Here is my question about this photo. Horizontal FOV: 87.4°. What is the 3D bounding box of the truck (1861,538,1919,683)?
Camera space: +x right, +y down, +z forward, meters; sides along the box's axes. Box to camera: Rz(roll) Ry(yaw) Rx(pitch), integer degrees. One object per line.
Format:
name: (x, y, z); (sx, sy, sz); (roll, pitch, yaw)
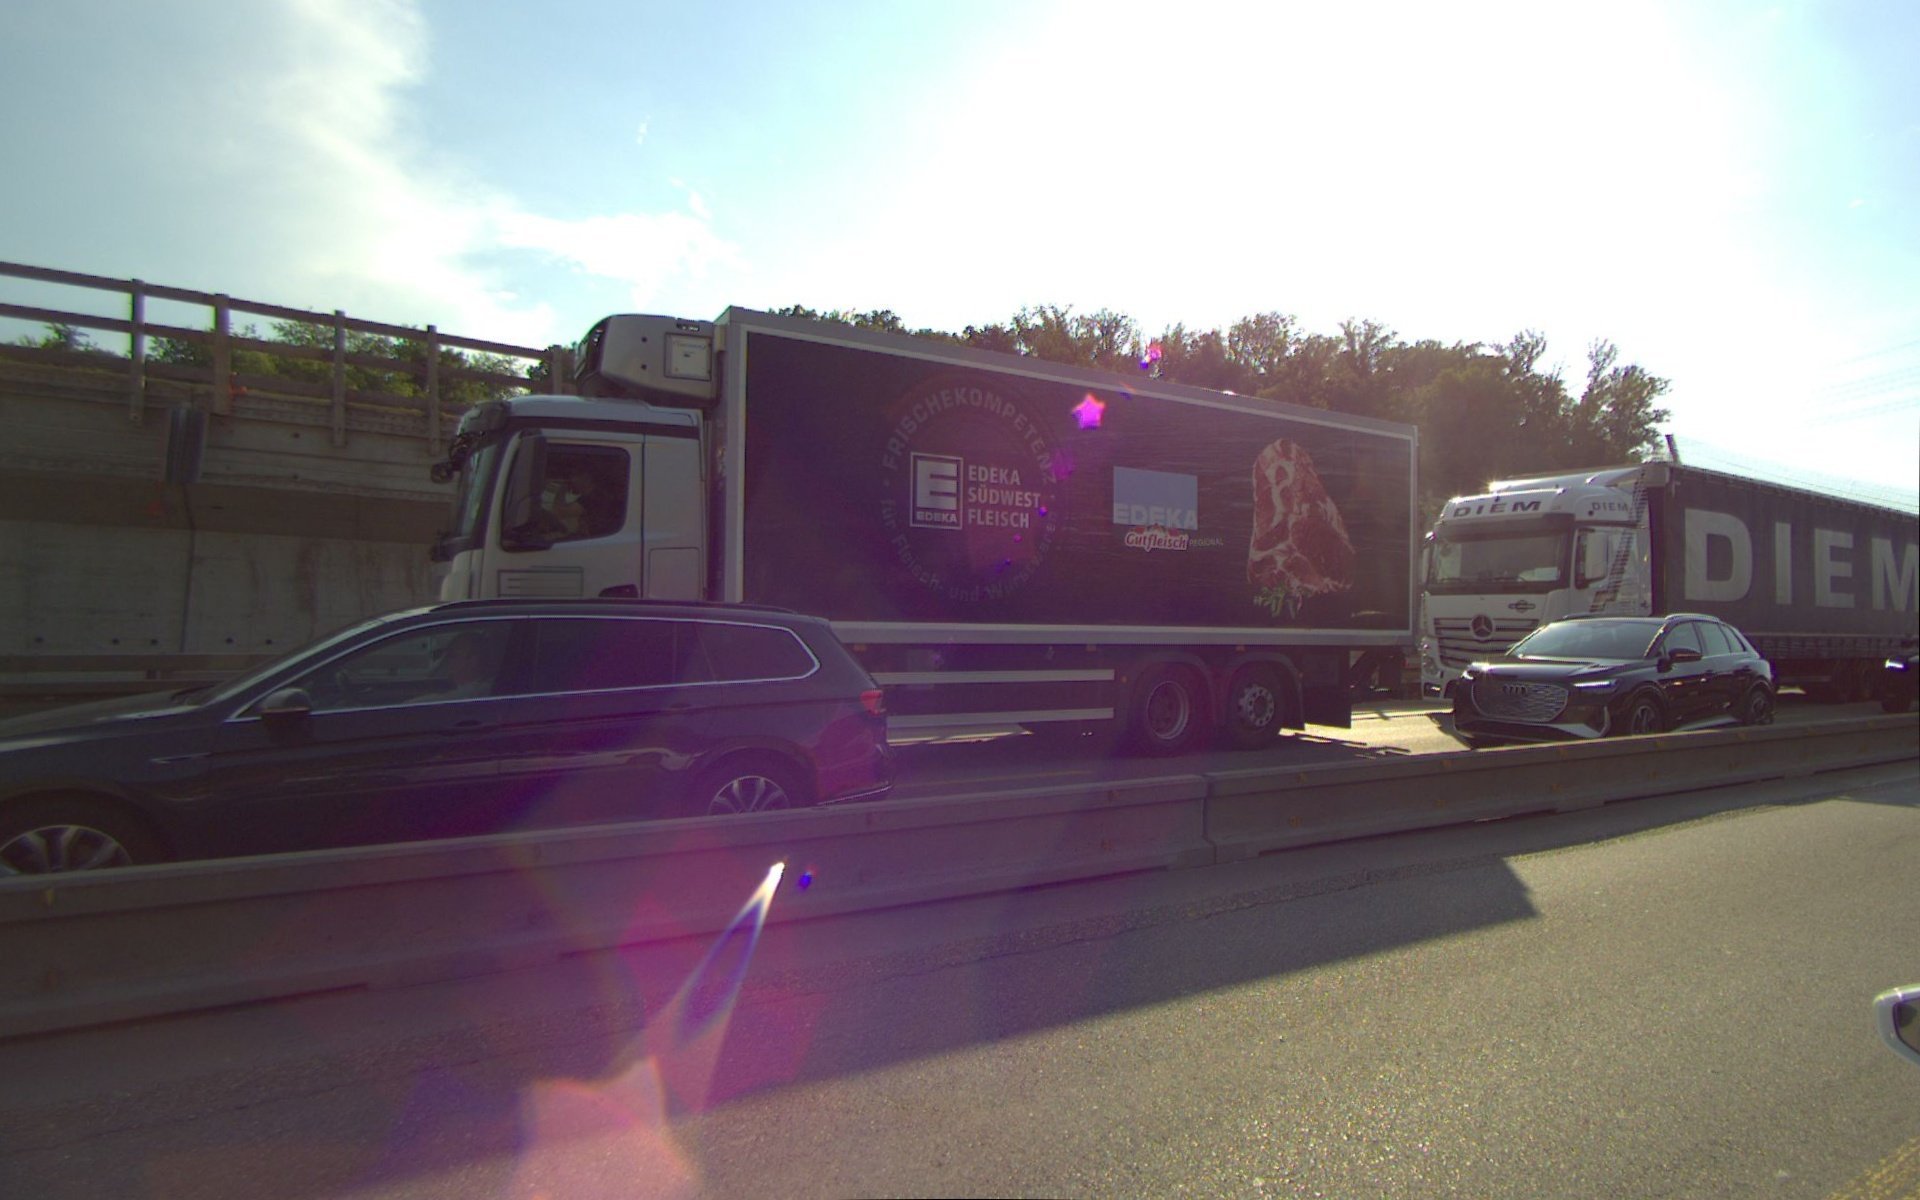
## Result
truck: (28.408, 0.373, 28.320); (7.035, 3.855, 2.733); (2, -2, -33)

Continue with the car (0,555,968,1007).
car: (-2.474, 0.732, 5.322); (4.691, 1.607, 1.853); (3, 1, -30)

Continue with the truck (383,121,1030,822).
truck: (-2.279, -0.758, 9.081); (4.970, 4.574, 2.905); (2, -1, -31)

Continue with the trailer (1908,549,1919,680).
trailer: (35.529, 0.619, 33.002); (15.875, 3.866, 2.733); (2, -2, -33)

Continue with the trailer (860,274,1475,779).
trailer: (2.673, -0.546, 12.067); (7.070, 4.525, 2.897); (2, -1, -31)

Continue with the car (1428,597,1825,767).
car: (7.969, 0.911, 11.833); (5.309, 1.626, 1.867); (2, -3, -32)

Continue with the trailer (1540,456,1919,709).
trailer: (16.822, -0.086, 21.058); (12.356, 4.177, 2.700); (2, -2, -33)

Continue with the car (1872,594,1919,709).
car: (18.760, 0.996, 18.384); (4.845, 1.989, 1.823); (3, -2, -32)

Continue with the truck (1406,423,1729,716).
truck: (10.182, -0.328, 16.789); (4.977, 4.169, 2.733); (2, -2, -33)
